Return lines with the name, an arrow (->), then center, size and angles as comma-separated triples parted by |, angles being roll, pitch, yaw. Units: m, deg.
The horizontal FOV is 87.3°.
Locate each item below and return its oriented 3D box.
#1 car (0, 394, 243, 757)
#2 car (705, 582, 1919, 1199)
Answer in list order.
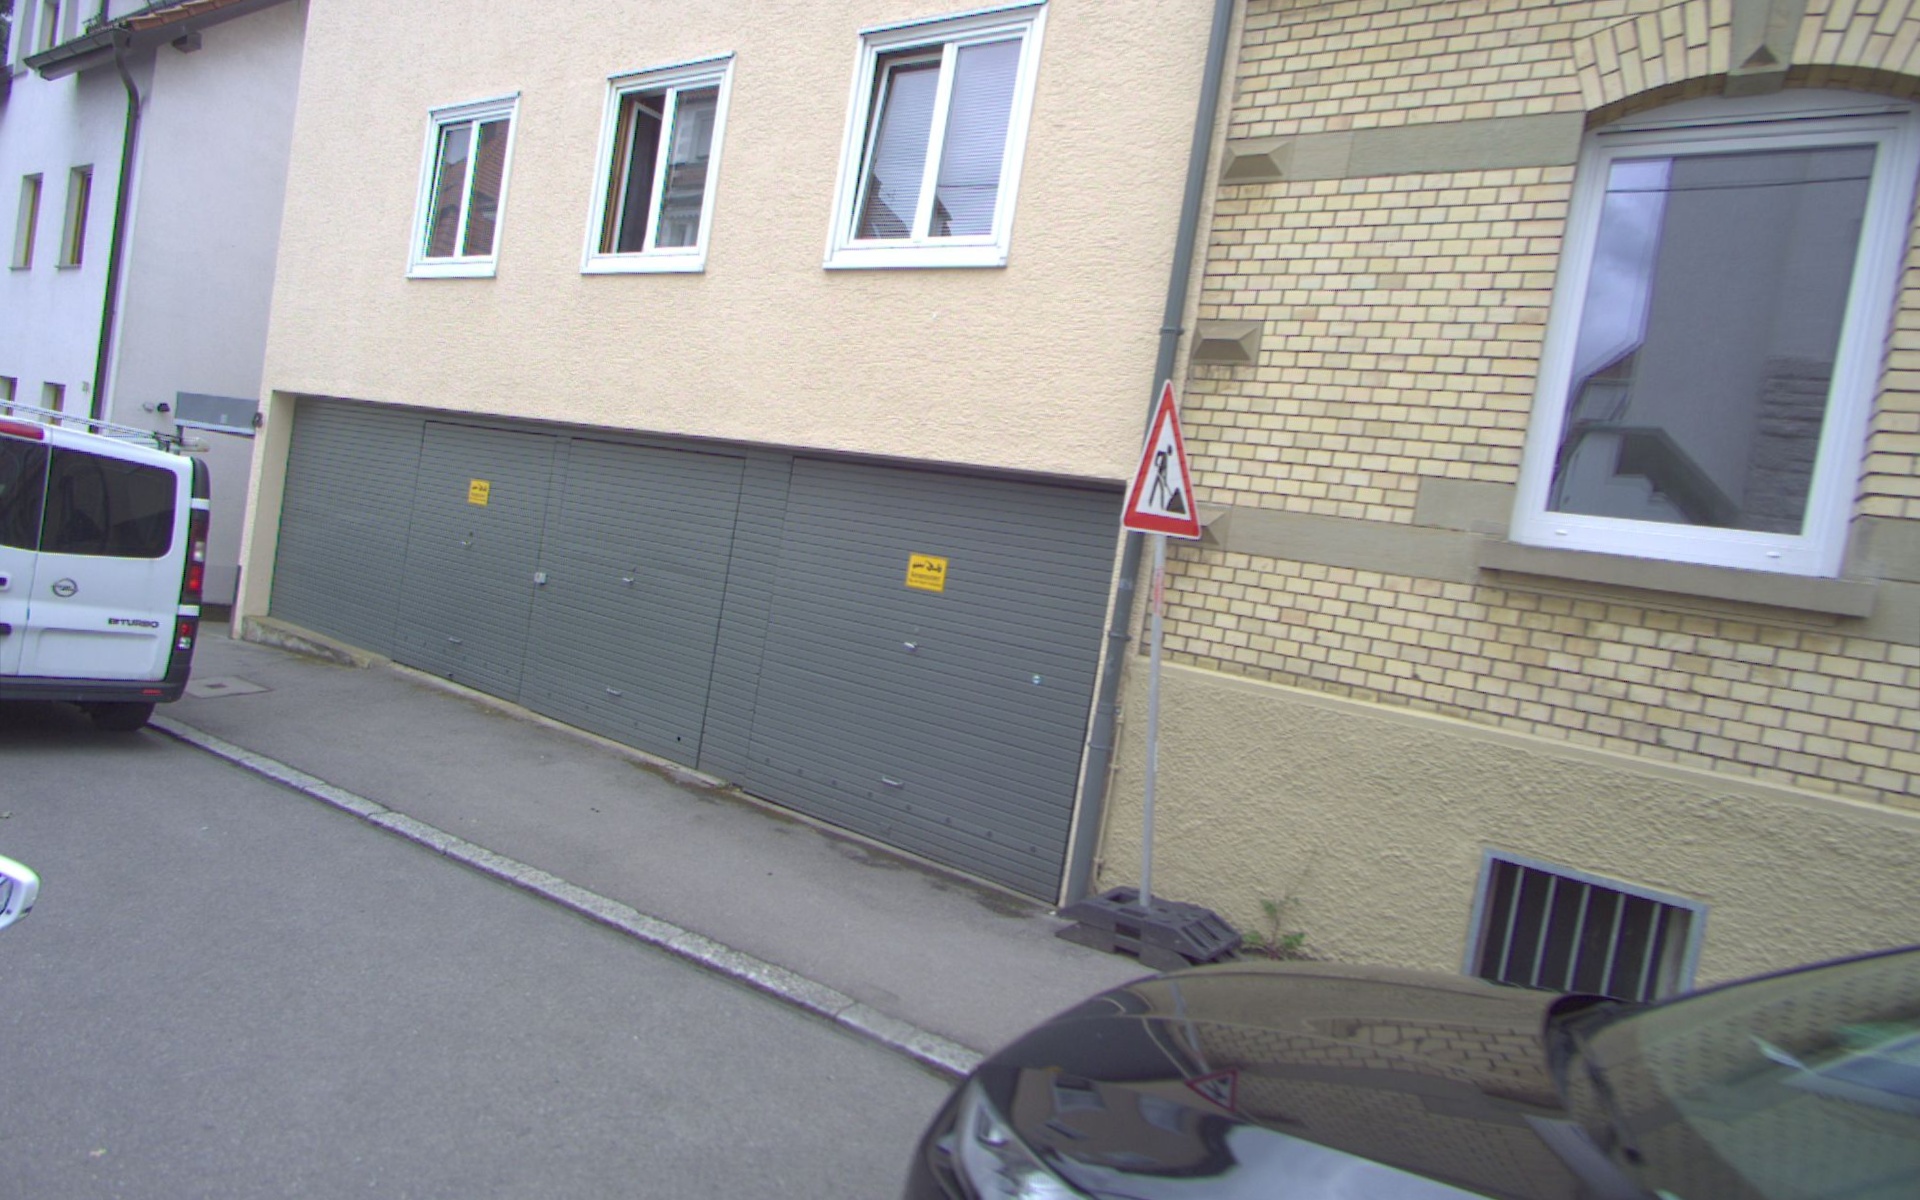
car -> -7.736, -0.456, 7.291 | 5.637, 2.054, 1.909 | 8, -1, 32
car -> 2.004, 1.047, 1.277 | 4.497, 1.420, 1.856 | 8, -1, 30
